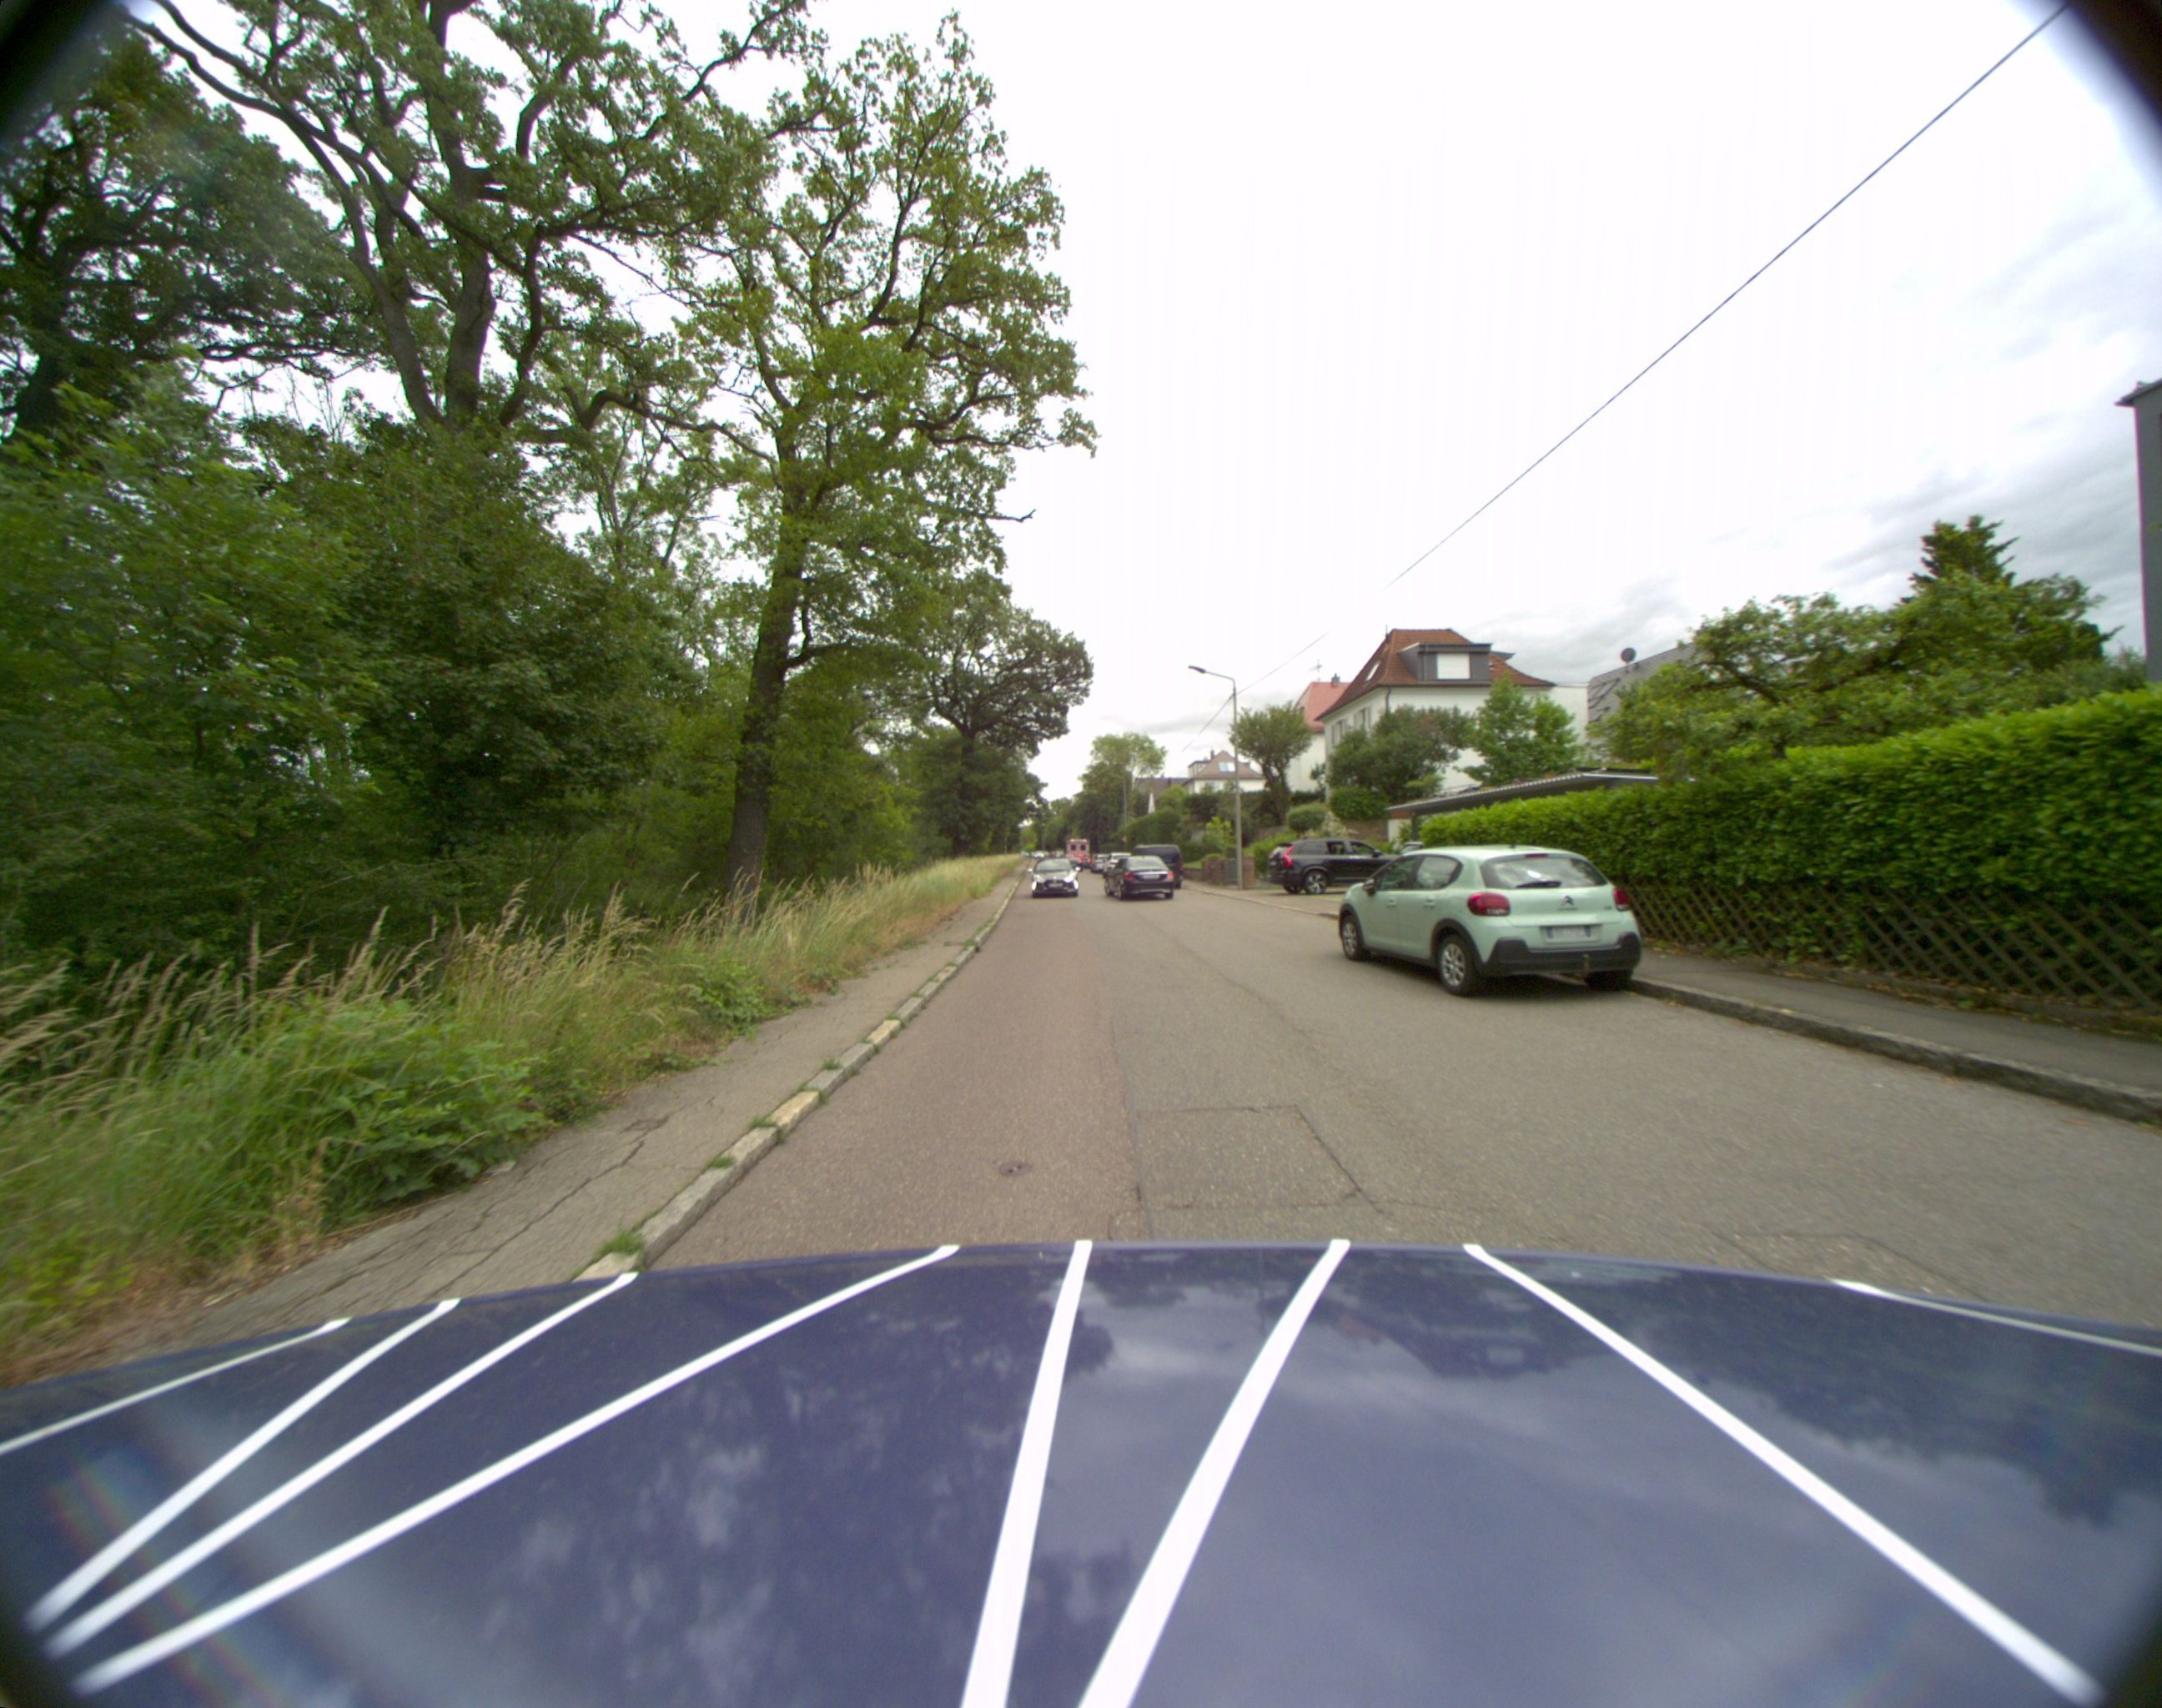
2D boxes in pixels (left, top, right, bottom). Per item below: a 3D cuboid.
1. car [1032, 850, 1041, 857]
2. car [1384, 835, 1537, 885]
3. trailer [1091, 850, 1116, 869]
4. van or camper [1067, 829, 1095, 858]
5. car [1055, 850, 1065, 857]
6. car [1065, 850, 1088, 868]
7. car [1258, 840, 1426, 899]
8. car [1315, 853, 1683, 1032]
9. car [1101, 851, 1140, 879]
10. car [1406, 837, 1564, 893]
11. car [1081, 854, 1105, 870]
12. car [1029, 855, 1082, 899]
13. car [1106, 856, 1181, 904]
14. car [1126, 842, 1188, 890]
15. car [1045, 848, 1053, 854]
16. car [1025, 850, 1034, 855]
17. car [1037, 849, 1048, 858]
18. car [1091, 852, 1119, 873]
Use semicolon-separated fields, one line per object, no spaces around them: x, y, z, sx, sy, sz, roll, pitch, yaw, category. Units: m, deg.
-10.669;-0.145;182.802;1.999;1.678;4.708;-2;0;-4;car
13.811;0.243;27.775;4.630;1.687;1.999;-1;-2;-7;car
1.883;0.432;64.987;1.768;1.487;4.472;0;1;-2;trailer
-0.100;-1.105;80.062;2.463;2.878;7.164;0;1;-4;van or camper
-4.453;-0.102;160.746;1.789;1.491;4.012;-2;1;-4;car
-0.403;0.380;64.977;1.768;1.438;4.471;0;1;-3;car
8.251;0.462;24.232;4.630;1.687;1.999;-1;1;-7;car
4.361;0.778;8.768;1.789;1.491;4.012;-2;1;-4;car
2.376;0.632;46.932;1.844;1.639;4.183;1;1;-5;car
13.165;0.380;24.889;4.135;1.687;1.999;-1;-2;-7;car
1.090;0.699;70.947;1.769;1.438;4.470;0;1;-6;car
-1.049;0.826;29.256;1.789;1.491;4.012;-2;1;-4;car
2.025;0.814;26.048;1.868;1.406;4.590;-2;1;-4;car
3.245;0.469;33.439;1.868;1.915;5.035;-2;1;-4;car
-8.501;-0.866;200.960;1.766;1.441;4.040;-2;0;-10;car
-16.074;-0.529;238.807;2.001;1.678;4.705;-2;1;-13;car
-8.177;-0.115;159.952;1.999;1.678;4.708;-2;0;-6;car
1.868;0.651;59.303;1.768;1.490;4.471;1;0;-3;car
